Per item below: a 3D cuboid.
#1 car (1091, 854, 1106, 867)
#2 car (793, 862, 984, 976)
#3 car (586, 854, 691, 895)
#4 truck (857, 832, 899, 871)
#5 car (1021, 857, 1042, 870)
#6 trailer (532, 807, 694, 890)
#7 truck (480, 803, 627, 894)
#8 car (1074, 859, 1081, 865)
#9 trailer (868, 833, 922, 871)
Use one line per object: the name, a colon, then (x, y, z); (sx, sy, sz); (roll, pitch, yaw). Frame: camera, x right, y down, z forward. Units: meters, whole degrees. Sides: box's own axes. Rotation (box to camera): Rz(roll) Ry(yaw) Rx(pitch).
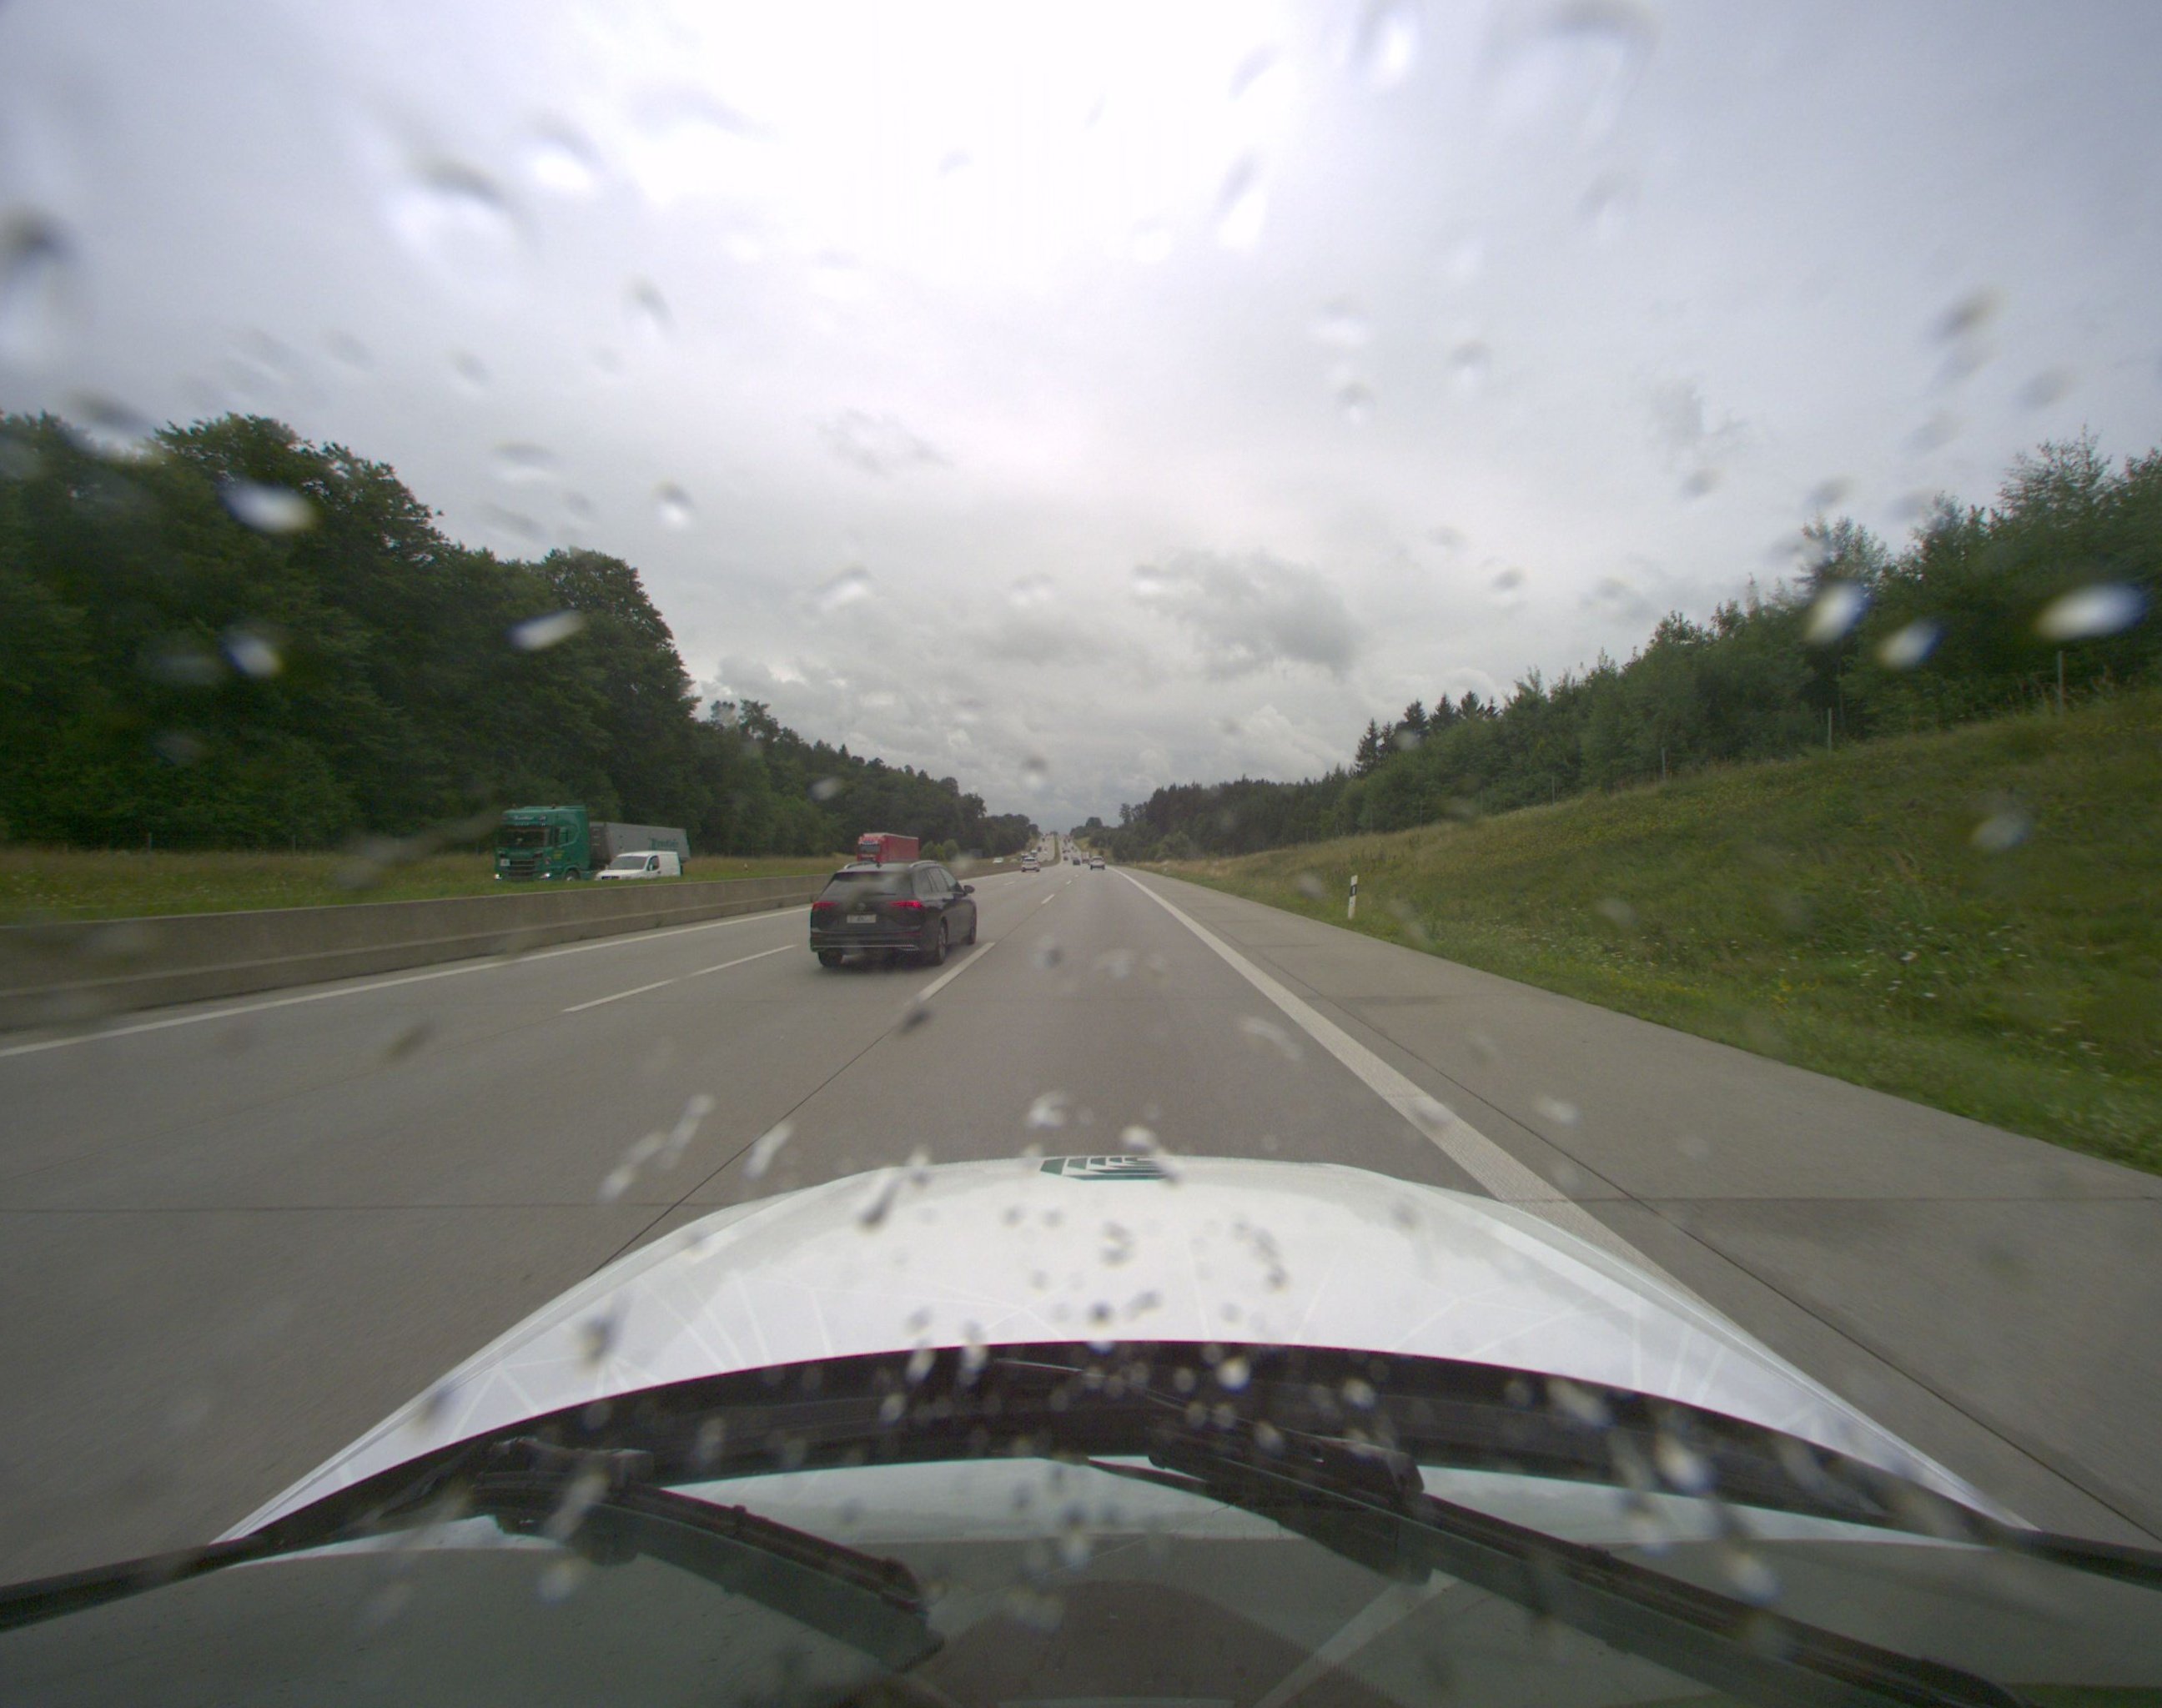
car: (2.248, 0.820, 102.249); (1.819, 1.655, 3.986); (0, 0, 2)
car: (-2.726, 0.856, 12.626); (1.746, 1.398, 4.486); (0, 0, 2)
car: (-18.367, 0.801, 34.038); (1.774, 1.599, 4.562); (0, 0, 2)
truck: (-21.073, -0.244, 84.823); (2.544, 3.928, 6.948); (0, 0, 1)
car: (-5.402, 1.076, 89.088); (1.940, 1.356, 4.261); (0, 0, 2)
trailer: (-23.158, -0.237, 41.079); (2.794, 3.700, 9.014); (0, 0, 1)
truck: (-23.232, -0.233, 36.238); (2.770, 3.740, 5.661); (0, 0, 1)
car: (-0.969, 2.170, 214.631); (1.930, 1.375, 4.592); (0, 0, -1)
trailer: (-20.950, -0.244, 92.646); (2.599, 3.944, 14.380); (0, 0, 1)
